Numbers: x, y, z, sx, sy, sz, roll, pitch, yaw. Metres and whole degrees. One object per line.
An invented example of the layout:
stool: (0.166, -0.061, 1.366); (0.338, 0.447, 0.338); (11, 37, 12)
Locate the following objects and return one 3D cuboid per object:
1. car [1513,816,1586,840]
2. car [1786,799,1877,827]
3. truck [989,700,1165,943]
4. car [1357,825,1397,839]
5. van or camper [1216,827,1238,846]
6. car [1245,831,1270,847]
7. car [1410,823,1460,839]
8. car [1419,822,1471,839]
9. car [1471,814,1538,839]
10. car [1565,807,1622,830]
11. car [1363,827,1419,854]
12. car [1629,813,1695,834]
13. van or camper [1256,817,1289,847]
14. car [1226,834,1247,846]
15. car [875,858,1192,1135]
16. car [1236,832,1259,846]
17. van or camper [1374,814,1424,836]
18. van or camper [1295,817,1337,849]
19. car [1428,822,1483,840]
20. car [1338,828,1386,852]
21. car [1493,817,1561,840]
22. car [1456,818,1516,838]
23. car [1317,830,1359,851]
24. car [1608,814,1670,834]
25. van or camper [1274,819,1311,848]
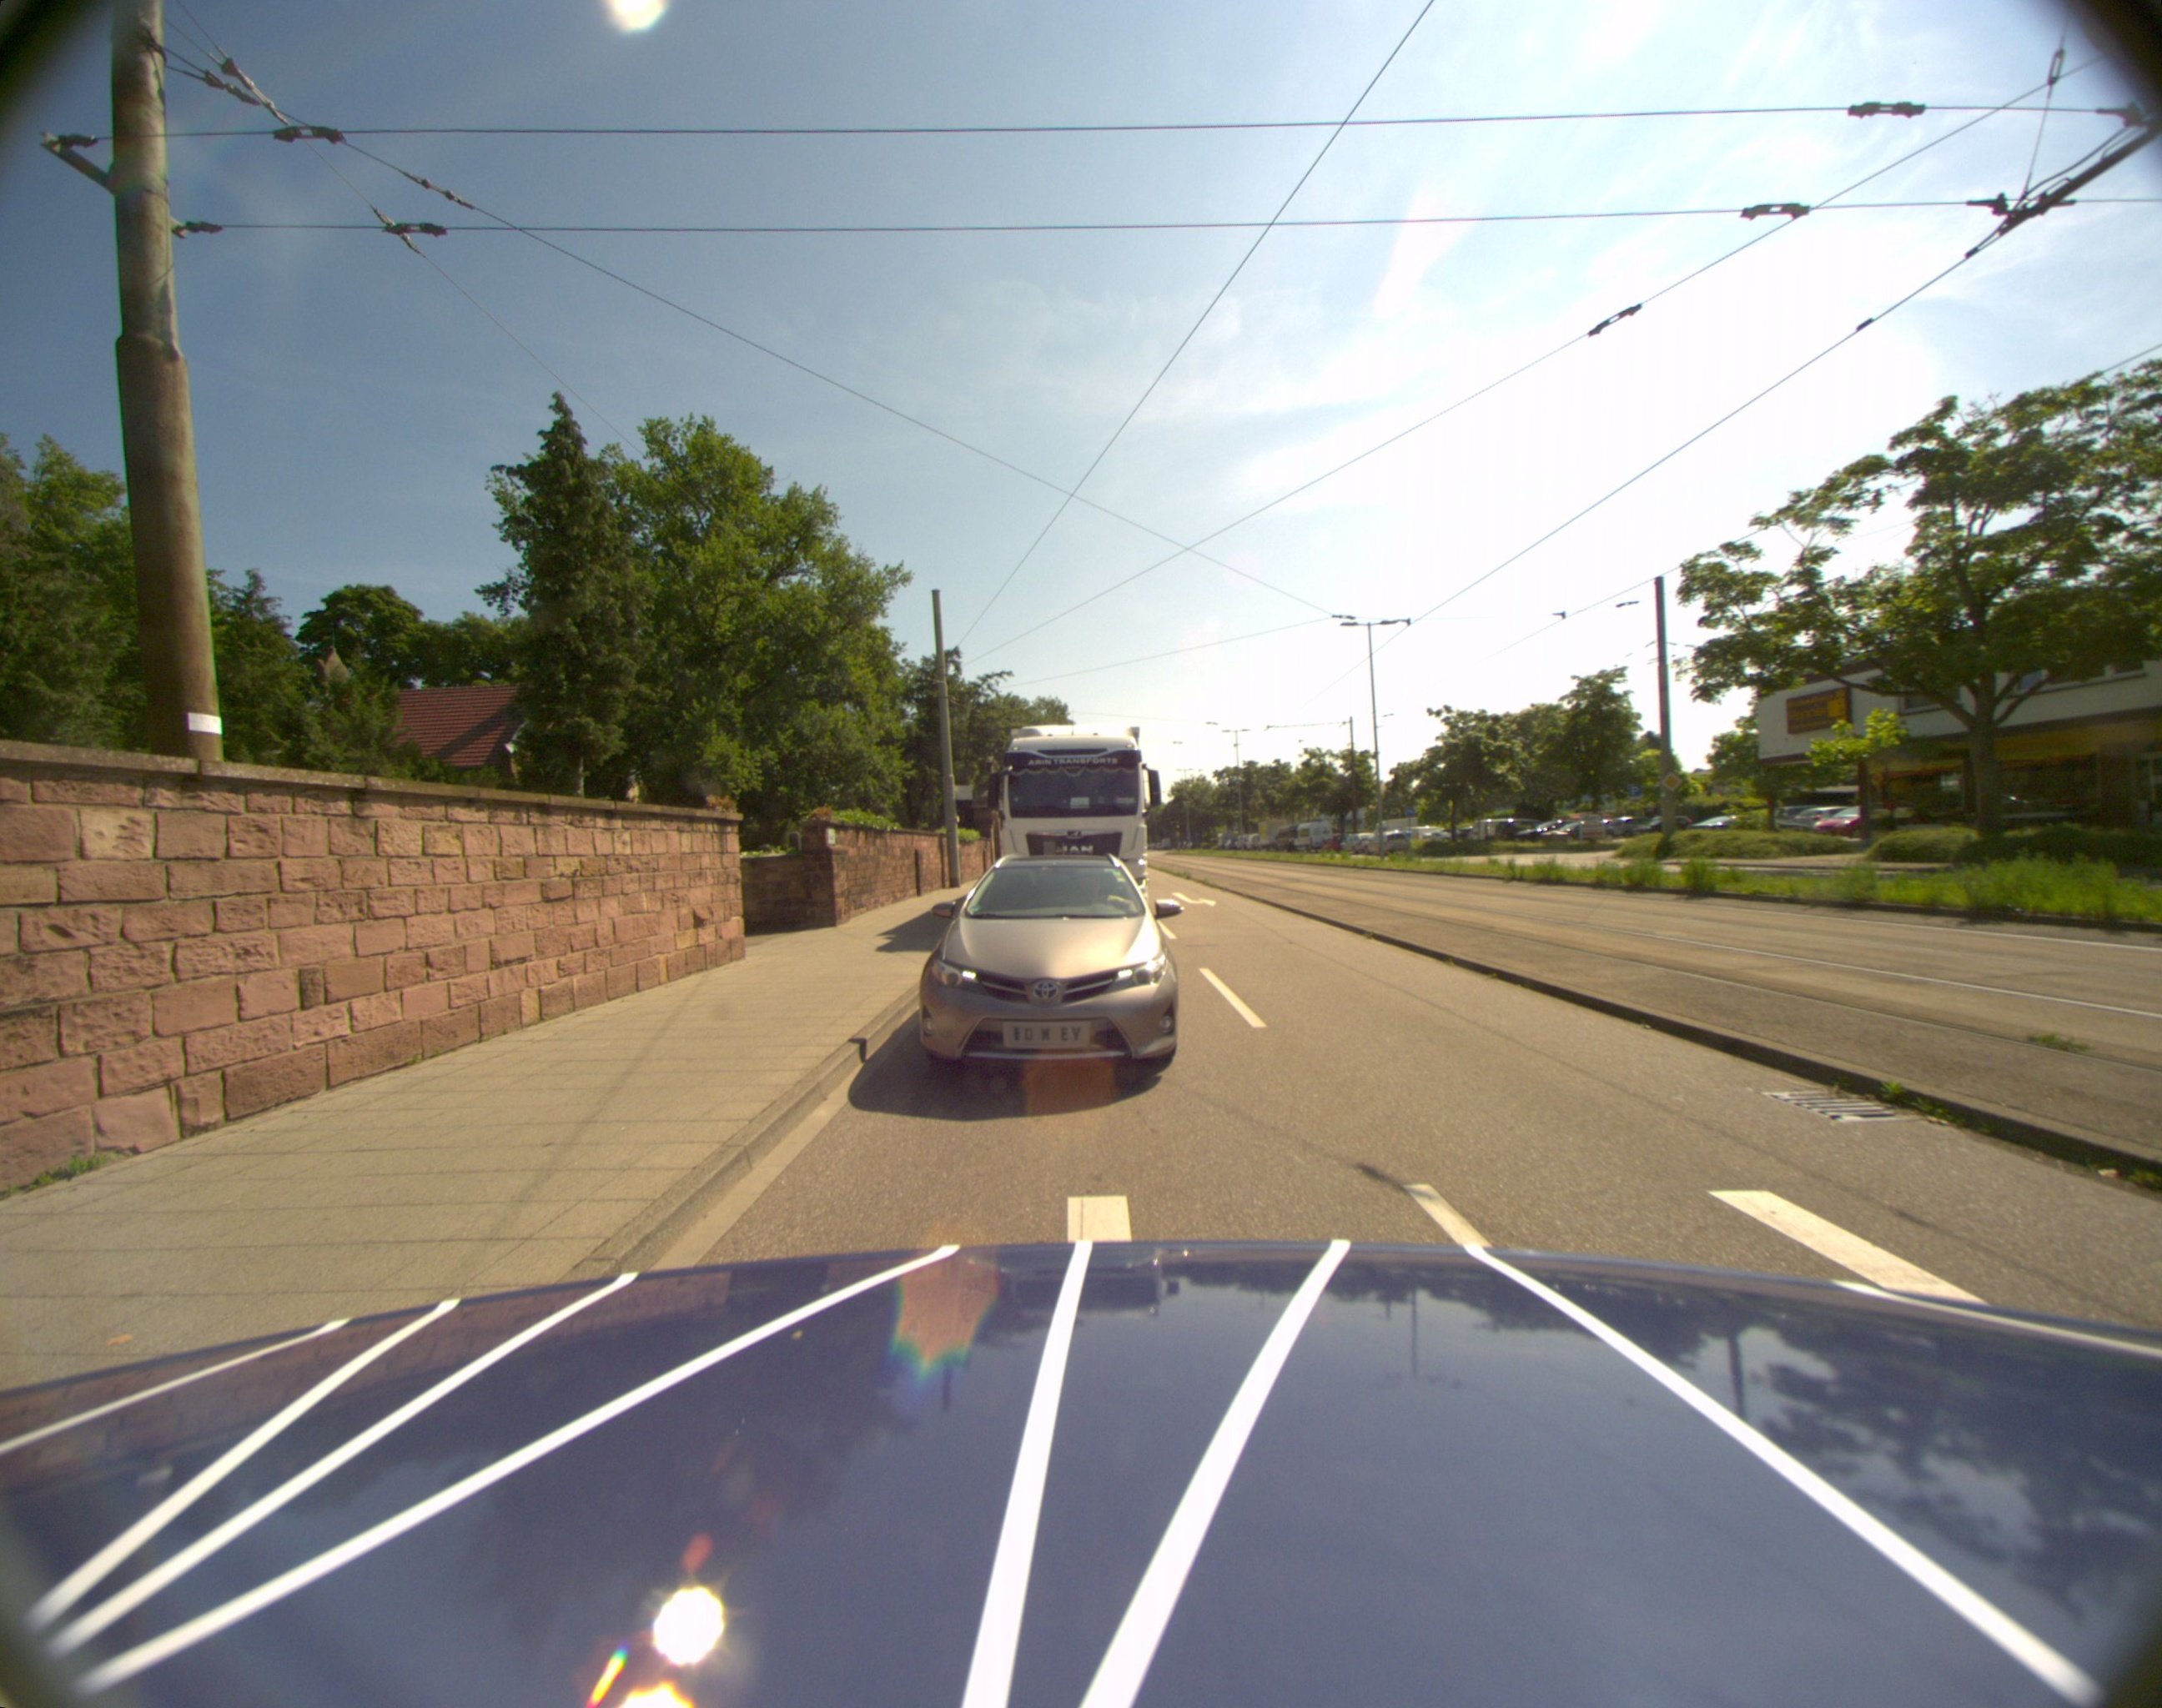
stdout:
car: (30.528, -1.665, 49.563); (3.624, 1.354, 1.712); (-3, 1, -1)
car: (43.825, -2.396, 44.428); (3.624, 1.354, 1.712); (-3, 1, -1)
truck: (0.002, -0.590, 16.807); (2.746, 3.852, 9.109); (-1, 1, 1)
car: (32.038, -2.367, 82.282); (3.624, 1.274, 1.712); (-3, 1, -1)
van or camper: (20.986, -2.518, 109.116); (2.114, 2.605, 5.451); (-2, 1, 1)
car: (20.805, -1.765, 89.459); (1.893, 1.724, 4.231); (-3, 1, 0)
car: (31.685, -2.054, 68.127); (3.624, 1.274, 1.712); (-3, 1, -1)
car: (31.459, -1.997, 65.738); (3.624, 1.274, 1.712); (-3, 1, -1)
car: (30.482, -1.953, 54.769); (3.749, 1.560, 1.950); (-3, 1, -1)
car: (43.605, -3.023, 64.686); (3.624, 1.767, 1.712); (-3, 1, -1)
car: (20.398, -0.883, 50.179); (1.892, 1.486, 4.285); (-6, 1, 2)
car: (43.573, -2.263, 57.044); (3.624, 1.354, 1.712); (-3, 1, -1)
van or camper: (20.321, -2.265, 80.841); (2.128, 2.968, 5.280); (-3, 1, 0)
car: (20.933, -1.887, 102.396); (1.893, 1.551, 4.231); (-3, 1, 0)
car: (-0.242, 0.831, 6.582); (1.742, 1.424, 4.461); (-3, 1, 1)
car: (21.078, -1.891, 96.393); (1.893, 1.757, 4.231); (-3, 1, 0)
van or camper: (44.901, -4.098, 107.424); (6.081, 2.715, 2.299); (-3, 1, 3)
van or camper: (20.299, -1.773, 65.901); (2.040, 2.617, 4.839); (-3, 1, 0)
car: (31.015, -1.924, 62.910); (3.624, 1.274, 1.812); (-3, 1, -1)
car: (20.465, -1.030, 55.595); (1.893, 1.551, 4.284); (-3, 1, 0)
car: (30.650, -1.725, 52.304); (3.624, 1.354, 1.712); (-3, 1, -1)
car: (30.409, -1.916, 57.096); (3.624, 1.277, 1.712); (-3, 1, -1)
car: (20.560, -1.082, 60.986); (1.893, 1.486, 4.231); (-3, 1, 0)
car: (43.770, -2.345, 59.634); (3.624, 1.354, 1.712); (-3, 1, -1)
van or camper: (20.246, -1.921, 72.954); (2.040, 2.617, 4.839); (-3, 1, 0)
